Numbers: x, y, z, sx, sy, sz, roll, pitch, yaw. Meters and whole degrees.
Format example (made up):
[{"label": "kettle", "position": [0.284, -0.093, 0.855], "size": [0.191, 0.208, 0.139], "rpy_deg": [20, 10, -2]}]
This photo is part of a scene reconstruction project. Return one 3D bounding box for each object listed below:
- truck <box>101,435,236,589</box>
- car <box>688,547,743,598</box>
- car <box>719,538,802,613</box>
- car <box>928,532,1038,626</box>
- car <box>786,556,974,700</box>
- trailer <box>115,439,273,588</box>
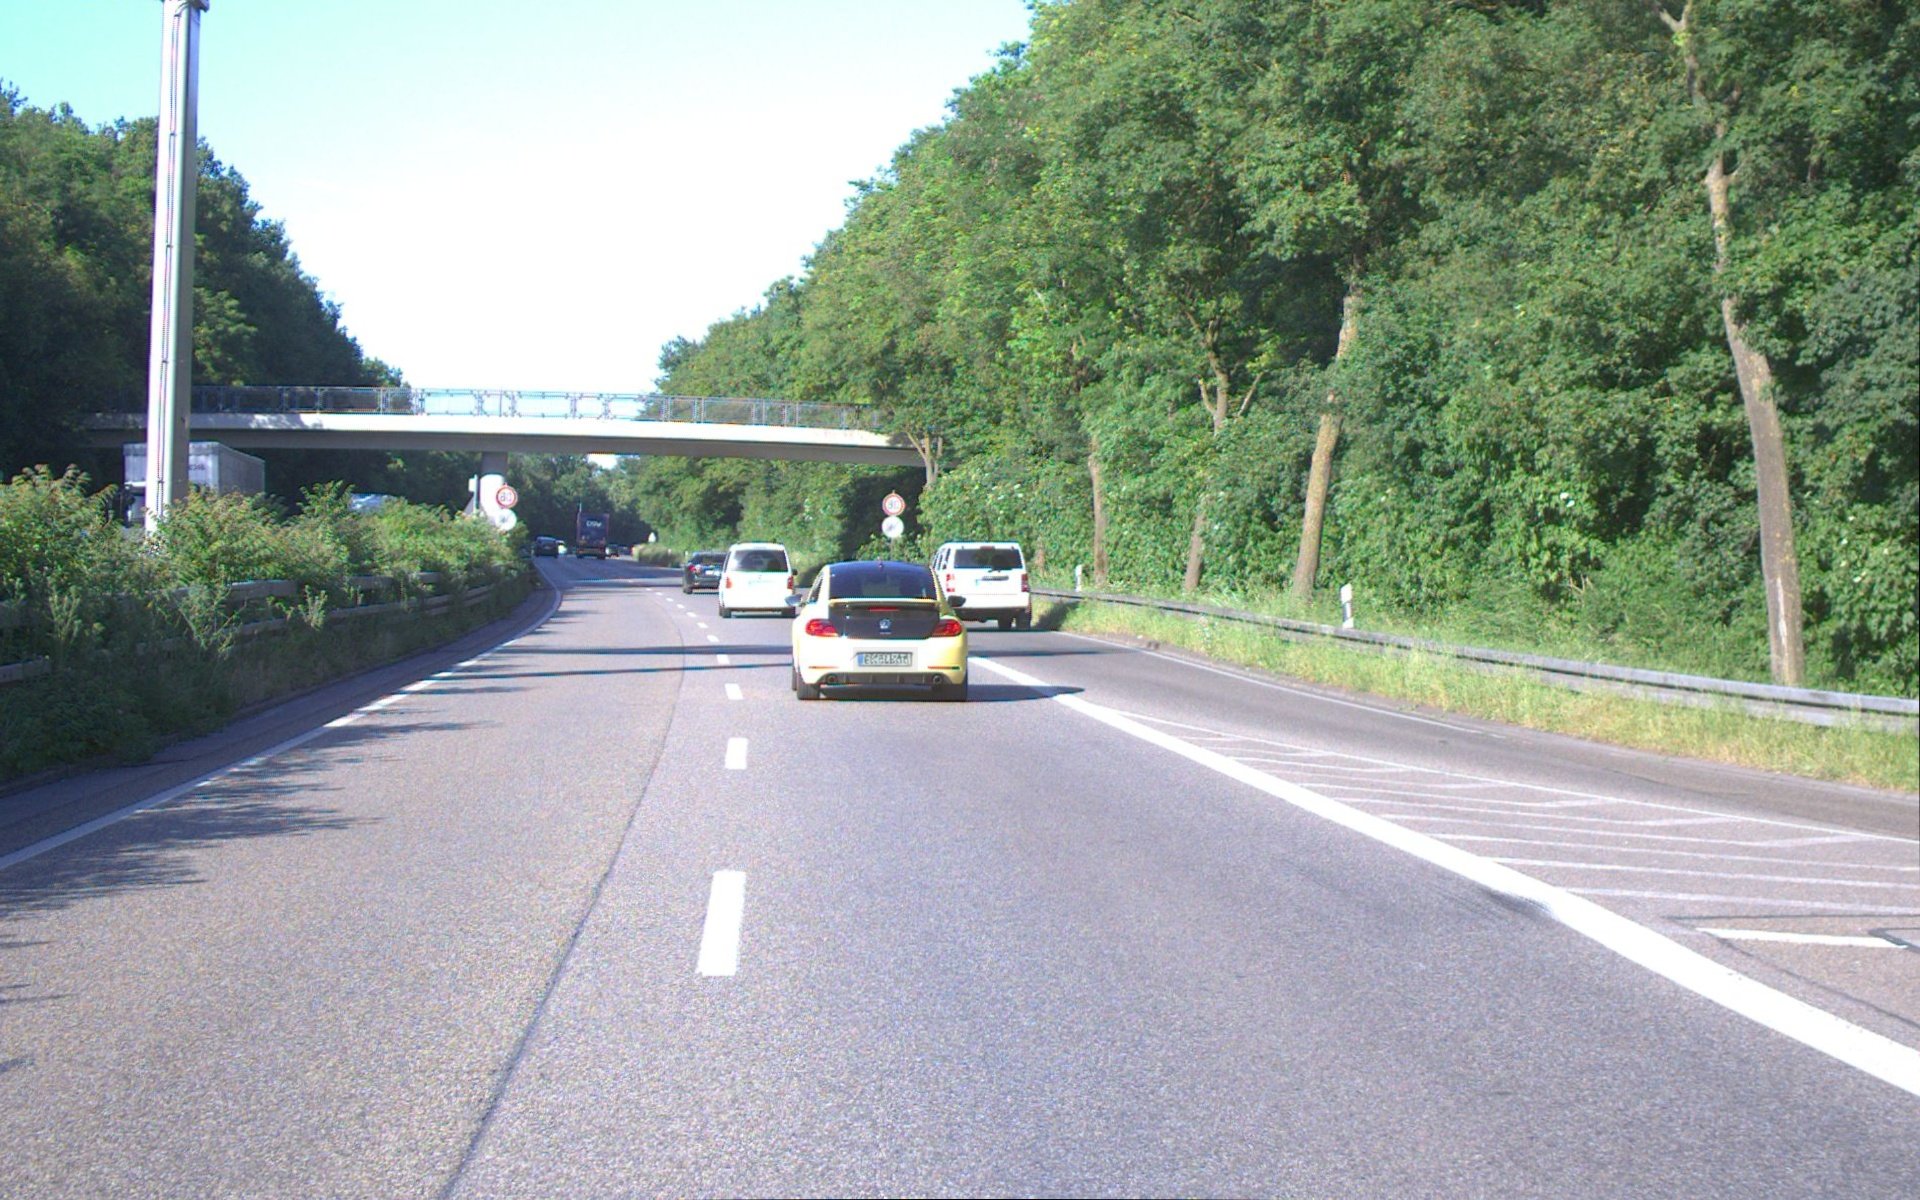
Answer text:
[{"label": "truck", "position": [-21.754, -2.389, 94.749], "size": [2.737, 4.013, 6.181], "rpy_deg": [2, 1, -6]}, {"label": "car", "position": [-8.675, -0.989, 121.754], "size": [1.897, 1.761, 4.001], "rpy_deg": [0, 1, -5]}, {"label": "car", "position": [-4.848, -0.599, 83.095], "size": [1.897, 1.761, 4.001], "rpy_deg": [0, 1, -5]}, {"label": "car", "position": [0.427, -0.428, 68.449], "size": [1.897, 1.817, 4.001], "rpy_deg": [0, 1, -4]}, {"label": "car", "position": [-0.920, 0.266, 37.159], "size": [1.897, 1.466, 4.001], "rpy_deg": [0, 1, -3]}, {"label": "trailer", "position": [-22.376, -2.465, 101.123], "size": [2.737, 4.013, 14.077], "rpy_deg": [2, 1, -6]}]
